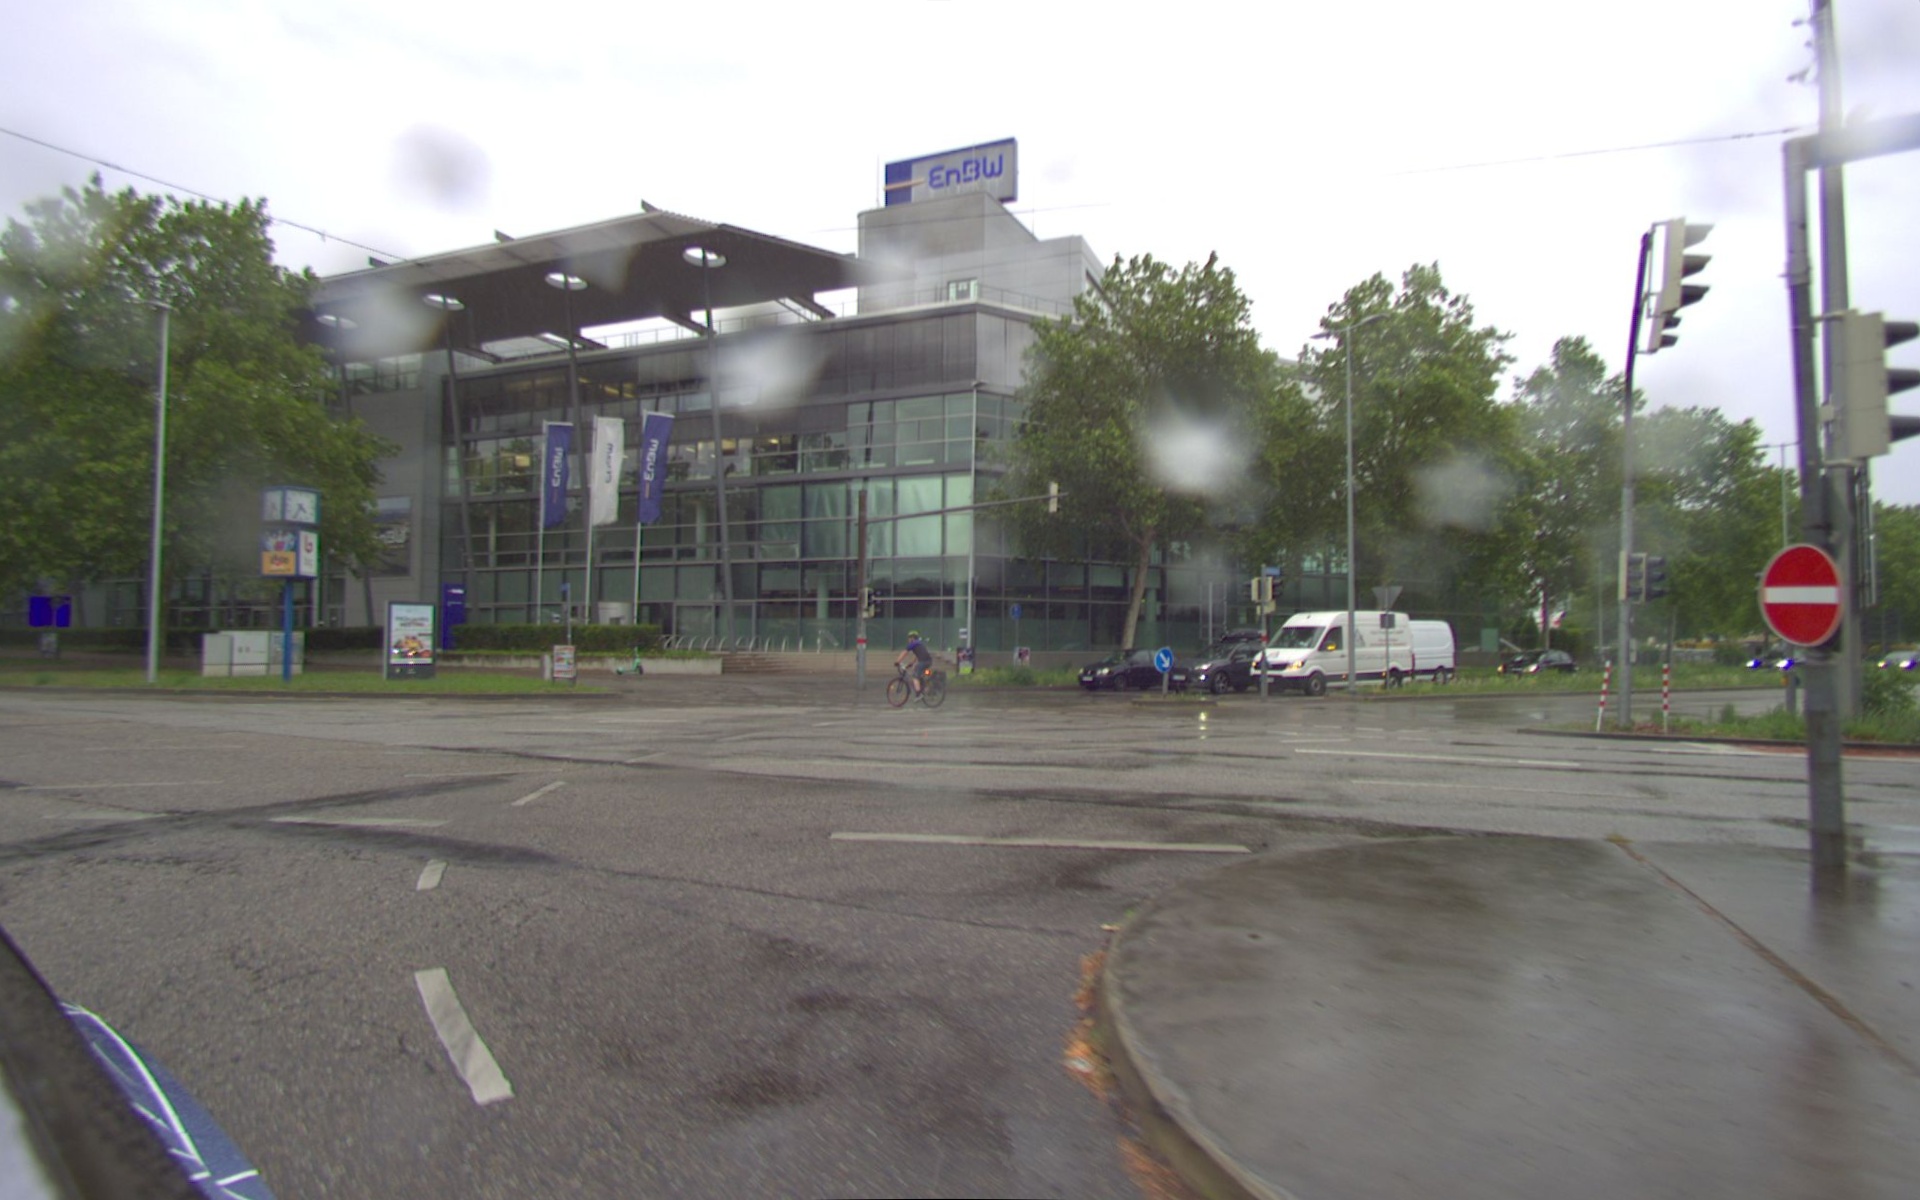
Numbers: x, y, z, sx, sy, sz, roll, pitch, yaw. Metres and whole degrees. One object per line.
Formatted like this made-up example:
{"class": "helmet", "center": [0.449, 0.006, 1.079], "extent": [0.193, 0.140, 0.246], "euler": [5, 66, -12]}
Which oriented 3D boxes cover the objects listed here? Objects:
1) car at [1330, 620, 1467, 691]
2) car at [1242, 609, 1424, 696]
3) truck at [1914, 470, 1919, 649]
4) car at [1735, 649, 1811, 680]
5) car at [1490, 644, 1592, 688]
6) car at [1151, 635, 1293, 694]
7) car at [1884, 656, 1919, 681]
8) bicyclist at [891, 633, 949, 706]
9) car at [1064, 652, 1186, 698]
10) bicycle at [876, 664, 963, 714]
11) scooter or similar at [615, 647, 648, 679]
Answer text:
{"class": "car", "center": [16.148, 2.029, 37.214], "extent": [5.172, 2.452, 1.976], "euler": [2, -3, -31]}
{"class": "car", "center": [11.463, 1.604, 30.952], "extent": [5.859, 2.452, 1.976], "euler": [2, -3, -31]}
{"class": "truck", "center": [17.269, 0.115, 10.608], "extent": [10.129, 3.979, 2.667], "euler": [-1, -3, 23]}
{"class": "car", "center": [44.447, 3.517, 55.331], "extent": [3.857, 1.597, 1.915], "euler": [2, -3, -30]}
{"class": "car", "center": [23.968, 2.690, 41.752], "extent": [3.931, 1.697, 1.875], "euler": [2, -3, -30]}
{"class": "car", "center": [8.339, 2.021, 32.128], "extent": [4.254, 1.761, 2.006], "euler": [3, -3, -32]}
{"class": "car", "center": [62.332, 4.459, 66.359], "extent": [3.858, 1.534, 1.586], "euler": [2, -3, -32]}
{"class": "bicyclist", "center": [-0.899, 1.582, 22.991], "extent": [1.043, 1.606, 0.797], "euler": [-3, -4, 29]}
{"class": "car", "center": [5.624, 2.518, 34.371], "extent": [3.933, 1.448, 1.808], "euler": [2, -4, -33]}
{"class": "bicycle", "center": [-0.920, 2.002, 22.983], "extent": [1.904, 1.103, 0.688], "euler": [-2, -4, 29]}
{"class": "scooter or similar", "center": [-12.060, 2.303, 37.141], "extent": [1.166, 1.147, 0.338], "euler": [0, -2, 19]}
